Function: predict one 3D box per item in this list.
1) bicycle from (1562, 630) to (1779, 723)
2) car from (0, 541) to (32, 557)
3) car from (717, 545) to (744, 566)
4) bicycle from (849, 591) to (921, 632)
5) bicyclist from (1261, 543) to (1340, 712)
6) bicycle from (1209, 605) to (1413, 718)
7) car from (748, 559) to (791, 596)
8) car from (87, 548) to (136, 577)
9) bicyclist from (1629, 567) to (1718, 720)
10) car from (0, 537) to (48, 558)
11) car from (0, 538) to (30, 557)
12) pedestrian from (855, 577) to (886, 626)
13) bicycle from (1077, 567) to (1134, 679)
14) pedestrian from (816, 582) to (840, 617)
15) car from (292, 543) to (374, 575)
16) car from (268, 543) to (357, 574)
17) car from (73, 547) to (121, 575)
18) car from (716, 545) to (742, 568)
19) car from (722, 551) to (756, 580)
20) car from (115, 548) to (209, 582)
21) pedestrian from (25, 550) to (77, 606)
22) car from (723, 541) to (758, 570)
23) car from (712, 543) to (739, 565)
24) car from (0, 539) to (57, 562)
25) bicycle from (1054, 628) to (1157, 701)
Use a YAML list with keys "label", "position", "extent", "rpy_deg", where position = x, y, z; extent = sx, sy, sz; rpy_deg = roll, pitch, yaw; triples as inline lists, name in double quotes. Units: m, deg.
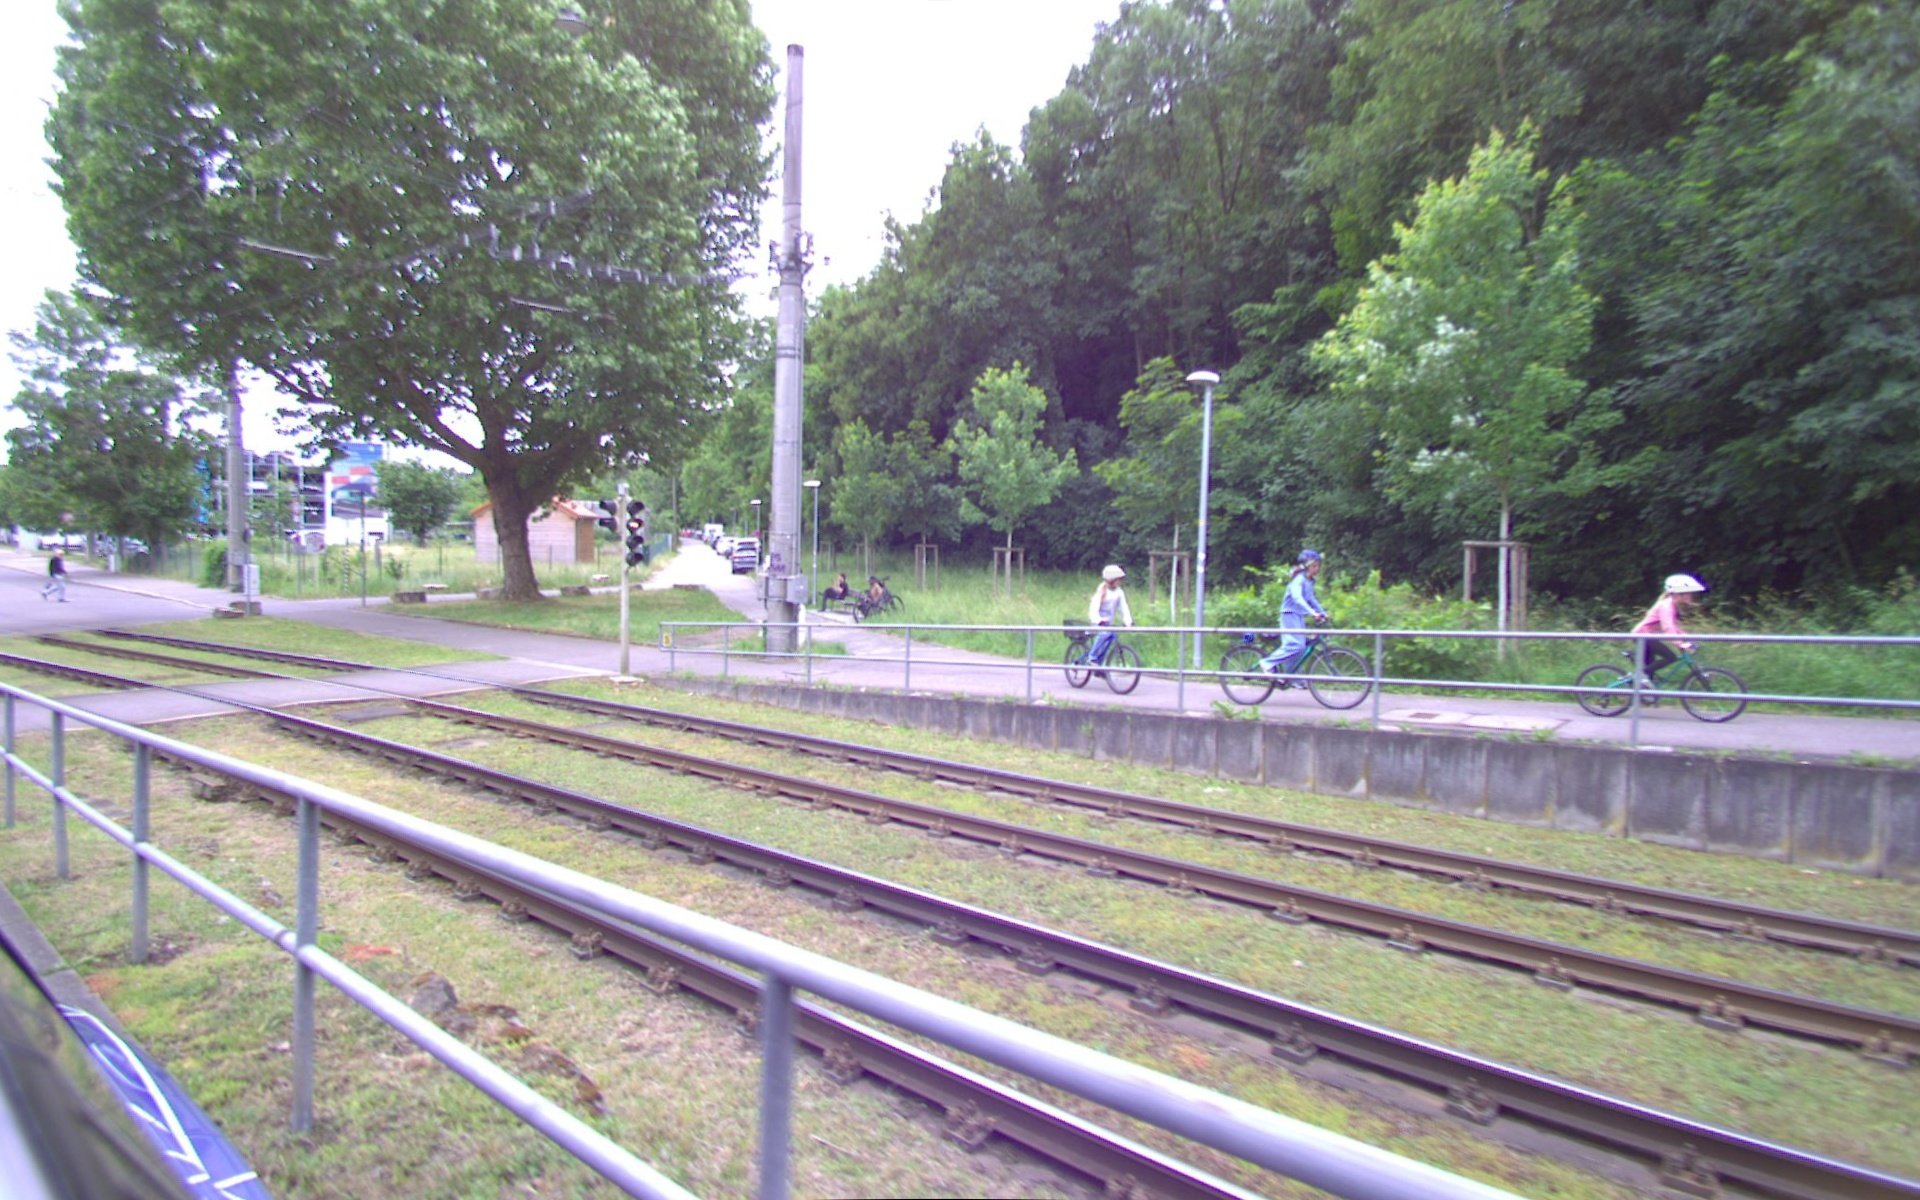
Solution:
- label: "bicycle"
  position: [6.402, 0.678, 9.172]
  extent: [1.557, 0.744, 0.449]
  rpy_deg: [-3, 2, 39]
- label: "car"
  position: [-115.587, -6.139, 122.426]
  extent: [2.107, 1.853, 4.581]
  rpy_deg: [3, 7, 39]
- label: "car"
  position: [-17.076, -3.329, 75.339]
  extent: [1.728, 1.387, 3.693]
  rpy_deg: [-2, 5, -16]
- label: "bicycle"
  position: [-1.908, 0.289, 25.741]
  extent: [1.716, 0.891, 0.624]
  rpy_deg: [-3, 5, -22]
- label: "bicyclist"
  position: [3.550, 0.274, 10.553]
  extent: [0.623, 1.687, 0.469]
  rpy_deg: [0, 4, 37]
- label: "bicycle"
  position: [3.616, 0.597, 10.533]
  extent: [1.942, 1.048, 0.469]
  rpy_deg: [0, 4, 38]
- label: "car"
  position: [-9.019, -1.100, 47.711]
  extent: [1.672, 1.434, 3.515]
  rpy_deg: [-2, 5, -16]
- label: "car"
  position: [-68.338, -3.038, 81.463]
  extent: [4.774, 2.131, 2.114]
  rpy_deg: [3, 7, 40]
- label: "bicyclist"
  position: [6.429, 0.383, 9.123]
  extent: [0.580, 1.311, 0.449]
  rpy_deg: [-3, 2, 39]
- label: "car"
  position: [-106.729, -5.955, 114.755]
  extent: [2.107, 2.224, 4.581]
  rpy_deg: [3, 7, 39]
- label: "car"
  position: [-117.336, -6.444, 124.055]
  extent: [2.107, 2.224, 4.581]
  rpy_deg: [3, 7, 39]
- label: "pedestrian"
  position: [-2.397, 0.034, 27.014]
  extent: [0.570, 1.244, 0.675]
  rpy_deg: [-4, 6, -28]
- label: "bicycle"
  position: [1.813, 0.271, 12.645]
  extent: [0.447, 1.339, 0.518]
  rpy_deg: [-4, 3, -23]
- label: "pedestrian"
  position: [-4.030, -0.027, 30.905]
  extent: [0.523, 0.996, 0.622]
  rpy_deg: [-4, 6, -27]
- label: "car"
  position: [-53.676, -3.531, 86.768]
  extent: [5.567, 2.478, 1.987]
  rpy_deg: [-3, 6, -24]
- label: "car"
  position: [-53.213, -3.470, 83.272]
  extent: [5.752, 2.283, 2.061]
  rpy_deg: [-3, 5, -21]
- label: "car"
  position: [-73.041, -3.312, 85.632]
  extent: [4.772, 2.131, 2.115]
  rpy_deg: [3, 7, 39]
- label: "car"
  position: [-18.077, -3.427, 79.167]
  extent: [1.728, 1.624, 3.693]
  rpy_deg: [-2, 5, -16]
- label: "car"
  position: [-12.808, -2.036, 58.652]
  extent: [1.672, 1.434, 3.515]
  rpy_deg: [-2, 5, -16]
- label: "car"
  position: [-59.828, -2.668, 75.939]
  extent: [2.001, 2.283, 5.198]
  rpy_deg: [4, 7, 44]
- label: "pedestrian"
  position: [-30.401, -0.754, 33.857]
  extent: [0.813, 1.772, 1.105]
  rpy_deg: [3, 6, 42]
- label: "car"
  position: [-13.859, -2.807, 63.662]
  extent: [1.877, 1.624, 3.693]
  rpy_deg: [-2, 5, -16]
- label: "car"
  position: [-19.300, -3.785, 83.278]
  extent: [1.727, 1.624, 3.694]
  rpy_deg: [-3, 5, -18]
- label: "car"
  position: [-102.735, -5.460, 111.353]
  extent: [2.107, 2.224, 4.581]
  rpy_deg: [3, 7, 39]
- label: "bicycle"
  position: [1.799, 0.783, 12.765]
  extent: [0.447, 0.744, 1.658]
  rpy_deg: [-4, 3, -23]
